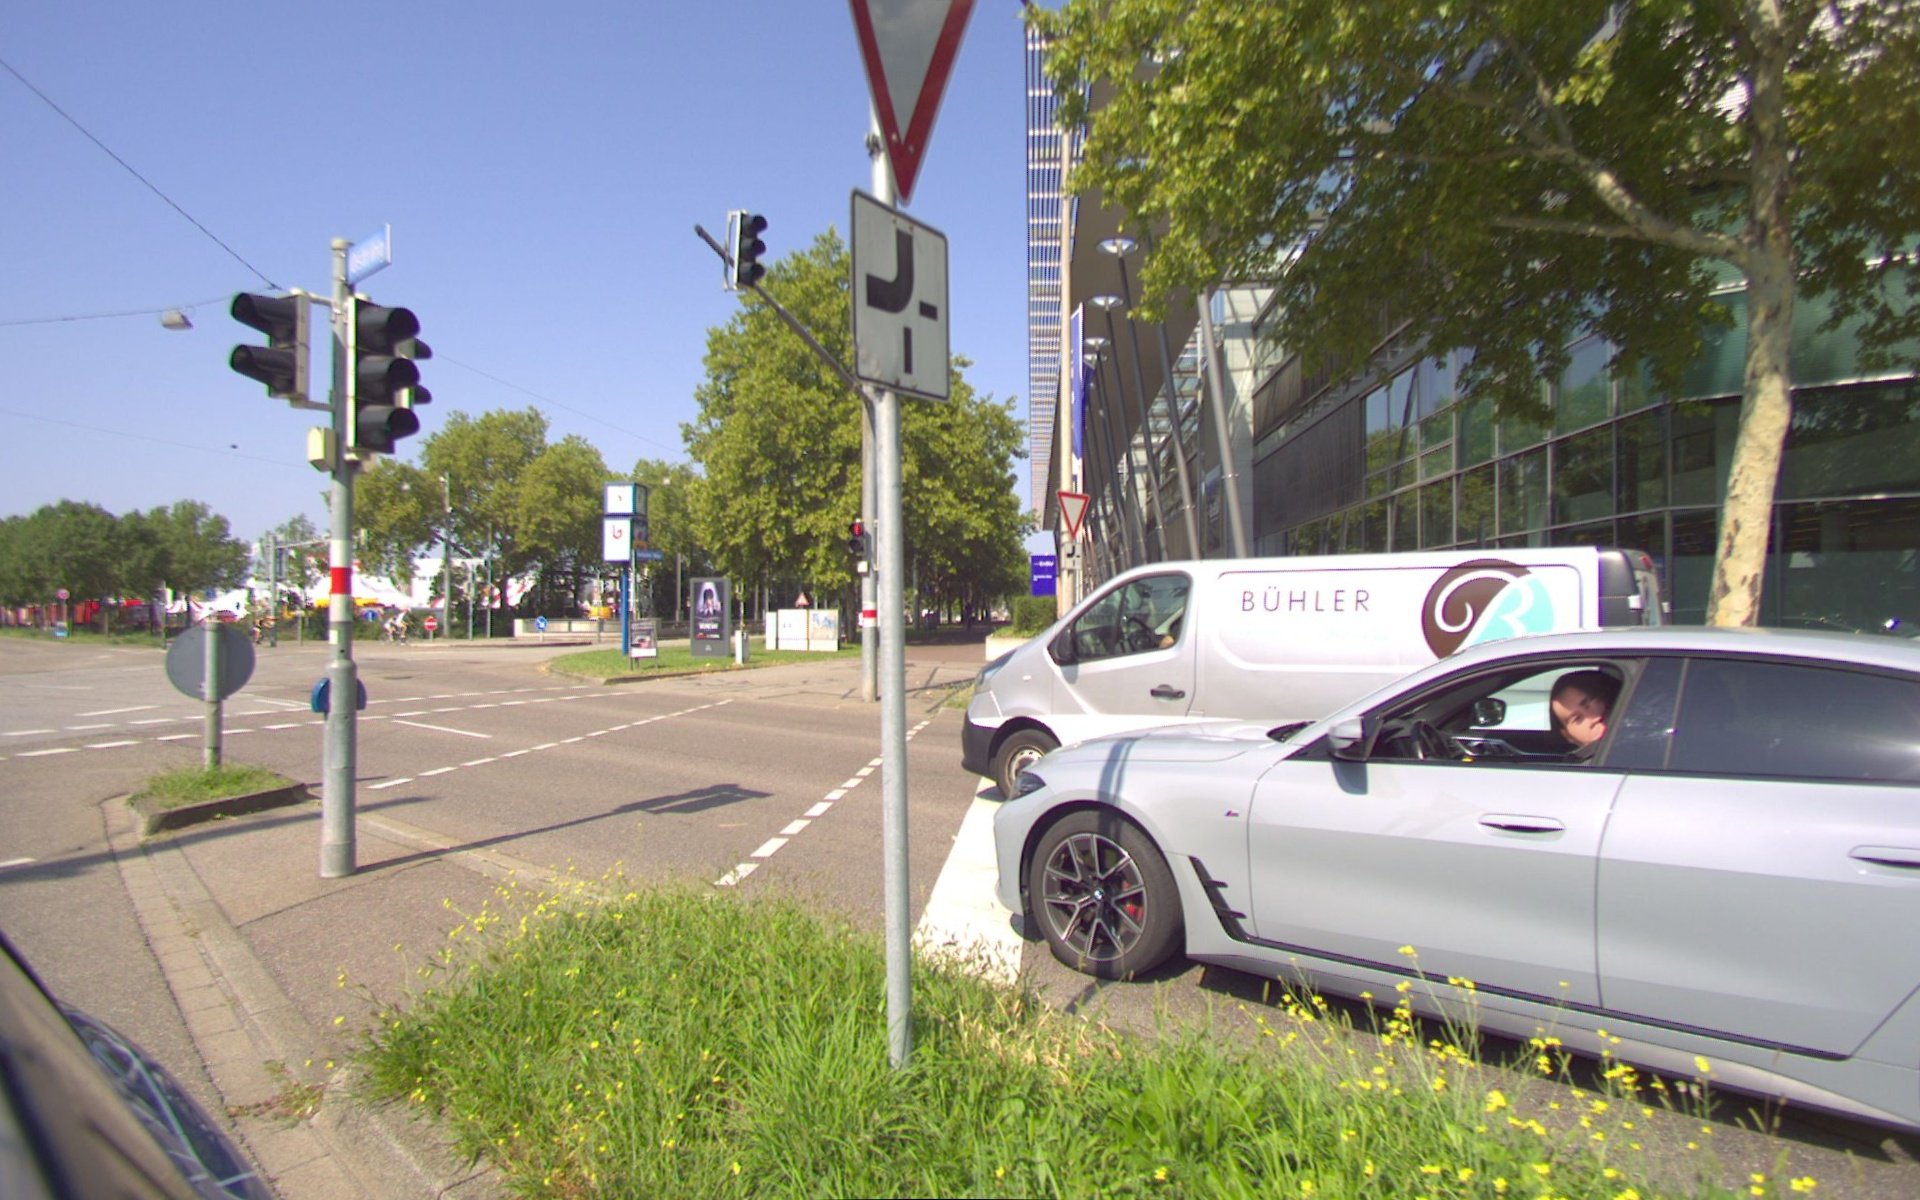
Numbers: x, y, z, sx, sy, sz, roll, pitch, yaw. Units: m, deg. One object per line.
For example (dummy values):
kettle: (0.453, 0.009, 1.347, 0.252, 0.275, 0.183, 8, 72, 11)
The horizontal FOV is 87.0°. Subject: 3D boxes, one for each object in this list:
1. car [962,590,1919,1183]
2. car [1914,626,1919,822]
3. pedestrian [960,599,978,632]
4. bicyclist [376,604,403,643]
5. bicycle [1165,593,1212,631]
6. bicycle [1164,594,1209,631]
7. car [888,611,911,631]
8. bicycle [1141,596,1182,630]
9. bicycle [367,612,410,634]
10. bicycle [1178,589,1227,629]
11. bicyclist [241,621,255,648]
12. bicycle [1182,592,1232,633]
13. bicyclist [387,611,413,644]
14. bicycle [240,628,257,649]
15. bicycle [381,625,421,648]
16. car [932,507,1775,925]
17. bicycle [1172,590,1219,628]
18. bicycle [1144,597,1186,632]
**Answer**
car: (2.369, 0.749, 3.680, 4.601, 1.454, 1.817, 0, -3, 39)
car: (8.722, 0.934, 6.030, 4.254, 1.522, 1.762, 0, -3, 39)
pedestrian: (0.582, 0.997, 63.777, 0.937, 2.029, 1.346, -3, -1, 6)
bicyclist: (-30.296, 1.247, 53.763, 1.197, 2.029, 0.593, -3, -1, 24)
bicycle: (13.047, 0.685, 57.829, 2.388, 2.029, 0.689, -3, -1, 5)
bicycle: (13.153, 0.754, 58.895, 2.388, 2.029, 0.689, -3, -1, 5)
car: (-7.552, 2.624, 126.691, 2.263, 2.250, 4.651, -3, -1, 3)
bicycle: (12.741, 0.807, 63.954, 2.388, 2.029, 0.689, -3, -1, 5)
bicycle: (-30.397, 1.246, 53.845, 2.247, 1.096, 0.767, -2, -4, 22)
bicycle: (13.097, 0.505, 54.737, 2.388, 2.029, 0.689, -3, -1, 5)
bicyclist: (-37.052, 1.790, 52.684, 0.494, 1.375, 0.699, -2, -2, -28)
bicycle: (13.027, 0.665, 53.494, 2.388, 2.029, 0.689, -3, -1, 5)
bicyclist: (-28.486, 1.414, 51.502, 1.199, 1.606, 0.592, -3, -2, 29)
bicycle: (-37.062, 2.018, 52.719, 0.563, 1.064, 1.498, -2, -2, -29)
bicycle: (-28.398, 1.854, 51.430, 2.211, 1.096, 0.765, -2, -2, 30)
car: (2.394, 0.614, 7.177, 5.206, 1.973, 1.908, -2, -2, 39)
bicycle: (13.109, 0.499, 56.435, 2.388, 2.029, 0.689, -3, -1, 5)
bicycle: (12.700, 0.896, 62.784, 2.388, 2.029, 0.689, -3, -1, 5)
